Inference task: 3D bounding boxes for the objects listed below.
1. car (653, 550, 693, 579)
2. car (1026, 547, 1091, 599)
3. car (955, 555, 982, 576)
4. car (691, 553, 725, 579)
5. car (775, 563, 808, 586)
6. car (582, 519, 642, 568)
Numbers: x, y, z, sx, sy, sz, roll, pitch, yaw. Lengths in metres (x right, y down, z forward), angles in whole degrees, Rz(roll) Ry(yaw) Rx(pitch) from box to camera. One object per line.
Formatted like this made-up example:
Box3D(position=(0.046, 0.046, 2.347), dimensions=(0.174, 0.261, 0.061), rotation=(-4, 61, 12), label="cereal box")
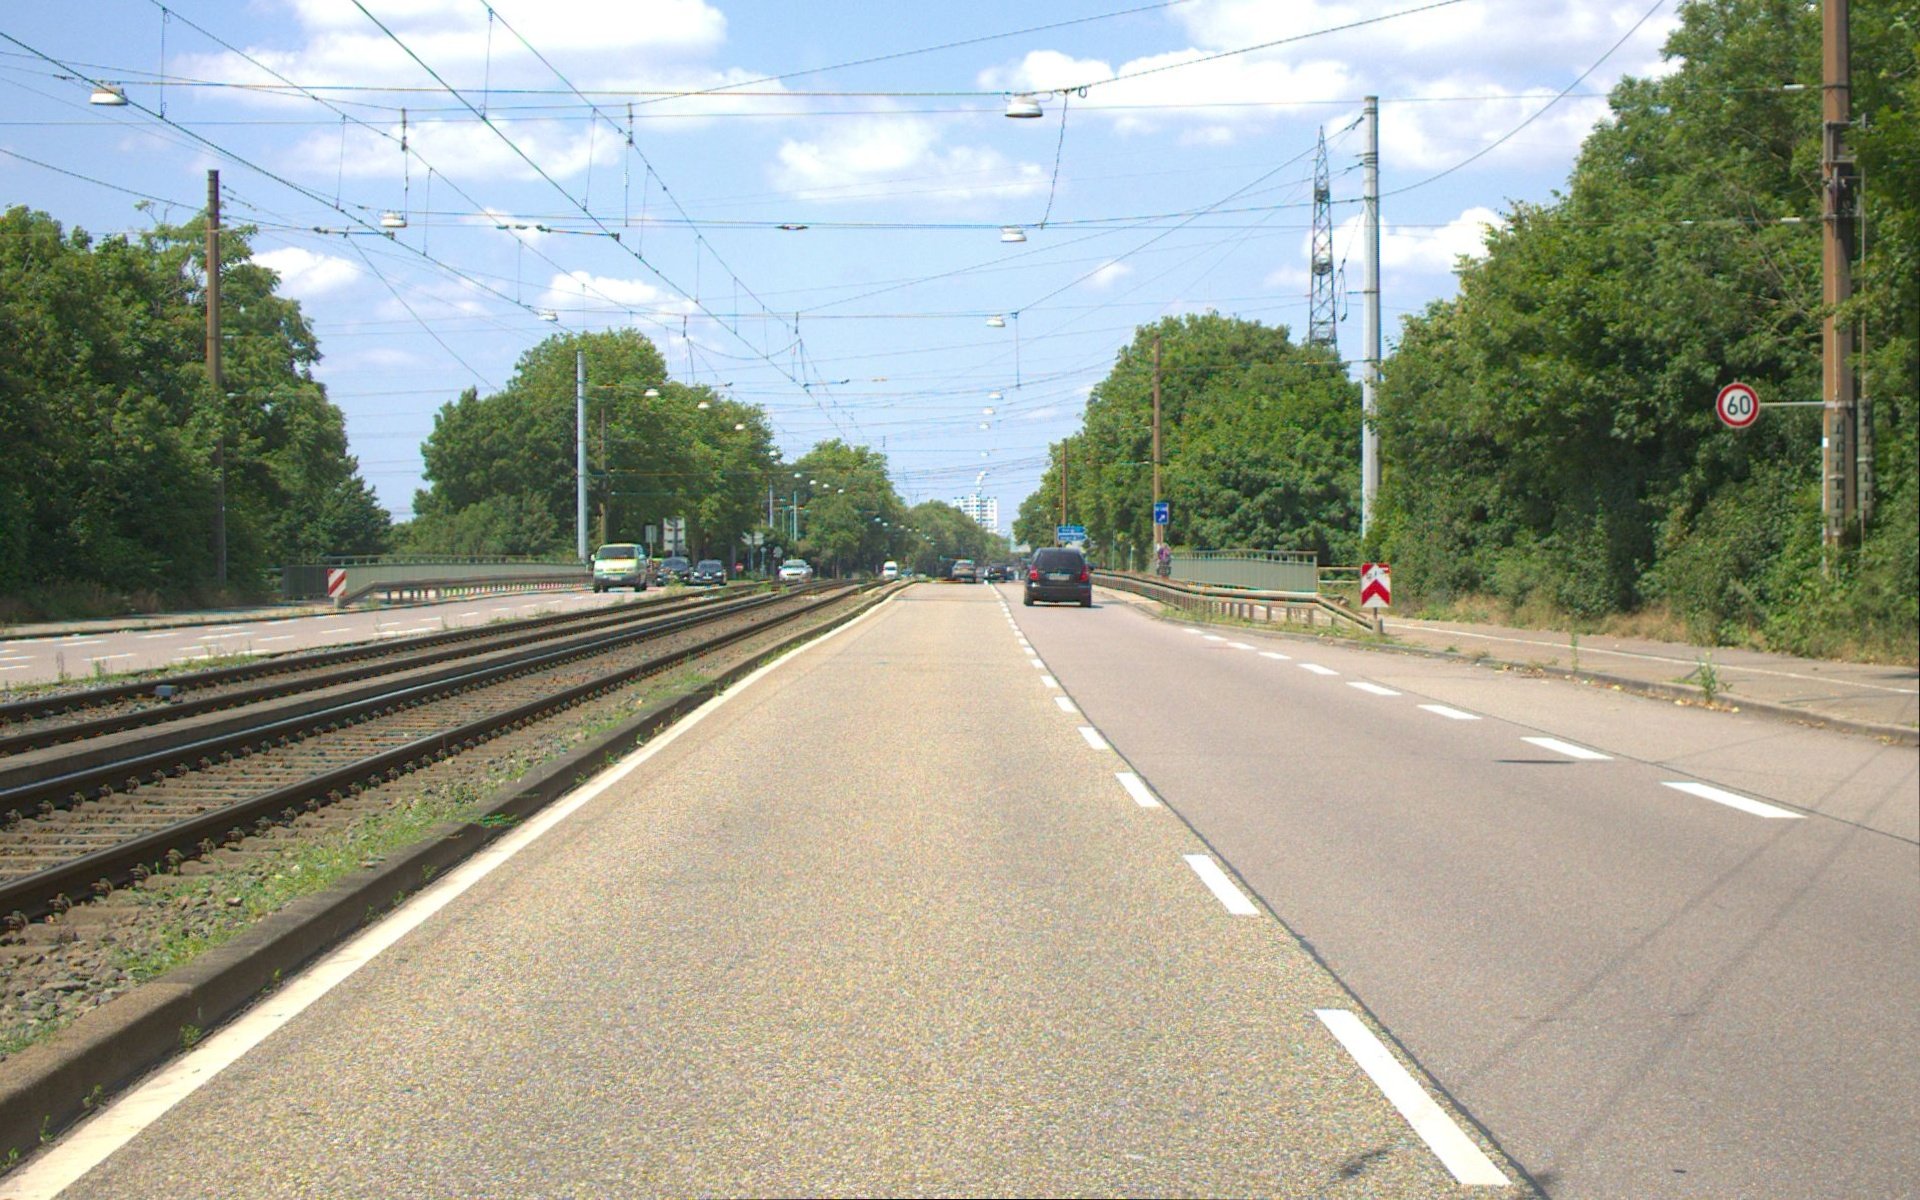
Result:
Box3D(position=(-13.947, -1.736, 167.269), dimensions=(1.563, 1.343, 3.929), rotation=(-1, 1, 1), label="car")
Box3D(position=(2.637, -0.729, 92.465), dimensions=(1.586, 1.338, 3.272), rotation=(-1, 1, -1), label="car")
Box3D(position=(0.612, -2.626, 261.866), dimensions=(1.993, 1.525, 4.000), rotation=(1, 1, 0), label="car")
Box3D(position=(-13.769, -1.864, 187.913), dimensions=(1.574, 1.395, 3.938), rotation=(-1, 1, 0), label="car")
Box3D(position=(-10.416, -1.575, 212.546), dimensions=(1.711, 1.415, 4.624), rotation=(-1, 1, 1), label="car")
Box3D(position=(-13.944, -2.253, 137.915), dimensions=(1.811, 1.918, 5.179), rotation=(-1, 1, 1), label="car")
